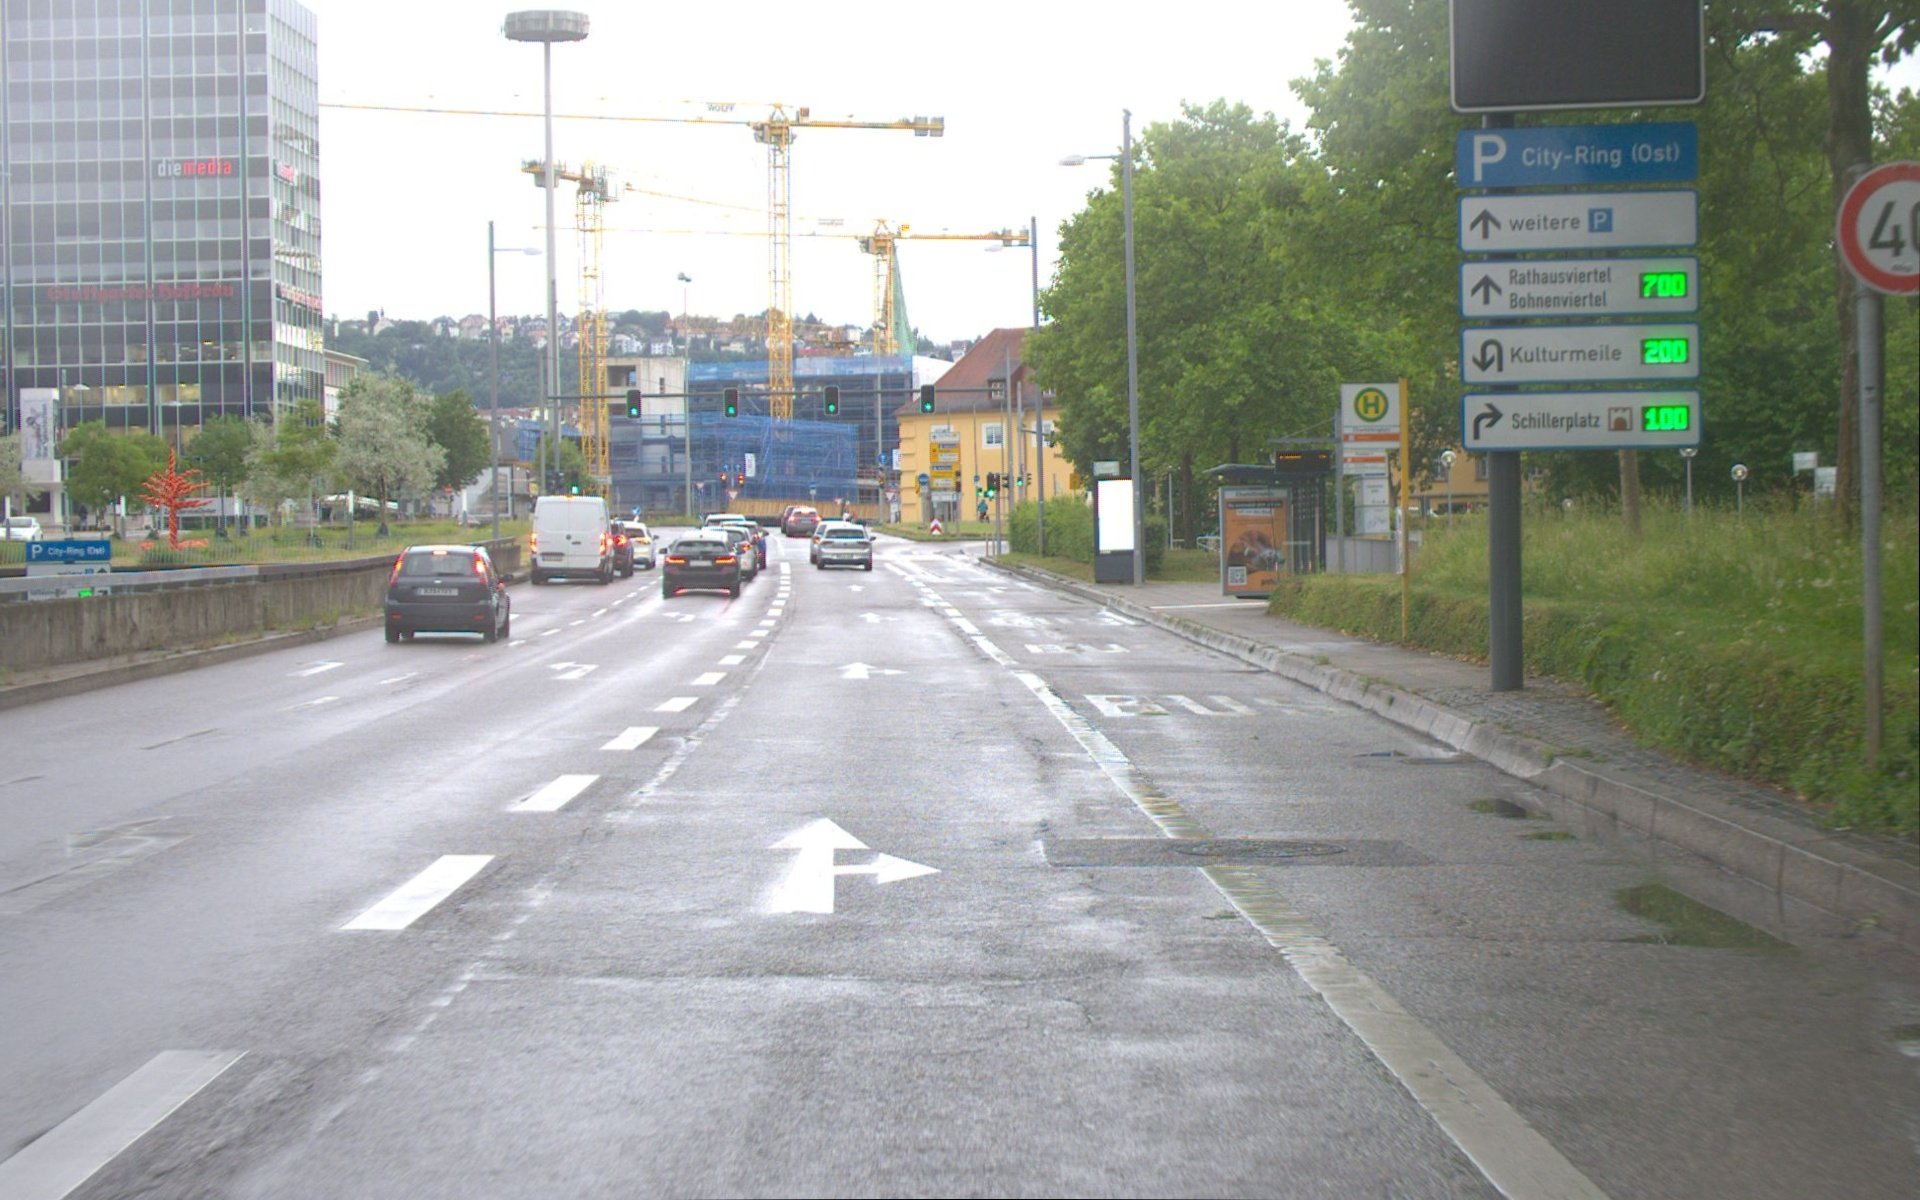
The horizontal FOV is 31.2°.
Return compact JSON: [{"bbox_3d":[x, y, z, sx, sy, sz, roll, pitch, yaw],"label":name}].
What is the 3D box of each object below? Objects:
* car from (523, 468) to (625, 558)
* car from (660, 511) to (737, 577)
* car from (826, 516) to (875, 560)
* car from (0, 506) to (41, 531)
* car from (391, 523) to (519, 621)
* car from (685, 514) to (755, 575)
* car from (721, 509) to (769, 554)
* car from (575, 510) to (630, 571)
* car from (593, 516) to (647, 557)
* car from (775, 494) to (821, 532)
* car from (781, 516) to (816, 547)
[{"bbox_3d":[-10.225,-2.279,91.455,2.292,2.306,5.006,1,0,-2],"label":"car"},{"bbox_3d":[-6.167,-1.346,81.367,1.753,1.466,4.223,0,2,-4],"label":"car"},{"bbox_3d":[-3.480,-1.973,109.530,1.444,1.354,2.412,1,0,1],"label":"car"},{"bbox_3d":[-44.993,-3.891,164.356,1.440,1.110,3.021,1,0,-3],"label":"car"},{"bbox_3d":[-7.596,-0.423,51.992,1.542,1.410,3.902,1,1,-3],"label":"car"},{"bbox_3d":[-6.741,-1.536,96.272,1.880,1.647,3.458,1,0,-5],"label":"car"},{"bbox_3d":[-6.854,-2.179,109.764,1.493,1.365,3.034,1,0,-3],"label":"car"},{"bbox_3d":[-10.190,-1.686,98.105,1.464,1.700,3.142,1,0,-5],"label":"car"},{"bbox_3d":[-10.699,-1.979,108.145,1.551,1.256,2.581,1,0,-3],"label":"car"},{"bbox_3d":[-8.307,-4.485,176.768,2.161,1.873,3.770,1,0,0],"label":"car"},{"bbox_3d":[-5.540,-2.344,117.721,1.076,0.987,1.971,1,0,0],"label":"car"}]
